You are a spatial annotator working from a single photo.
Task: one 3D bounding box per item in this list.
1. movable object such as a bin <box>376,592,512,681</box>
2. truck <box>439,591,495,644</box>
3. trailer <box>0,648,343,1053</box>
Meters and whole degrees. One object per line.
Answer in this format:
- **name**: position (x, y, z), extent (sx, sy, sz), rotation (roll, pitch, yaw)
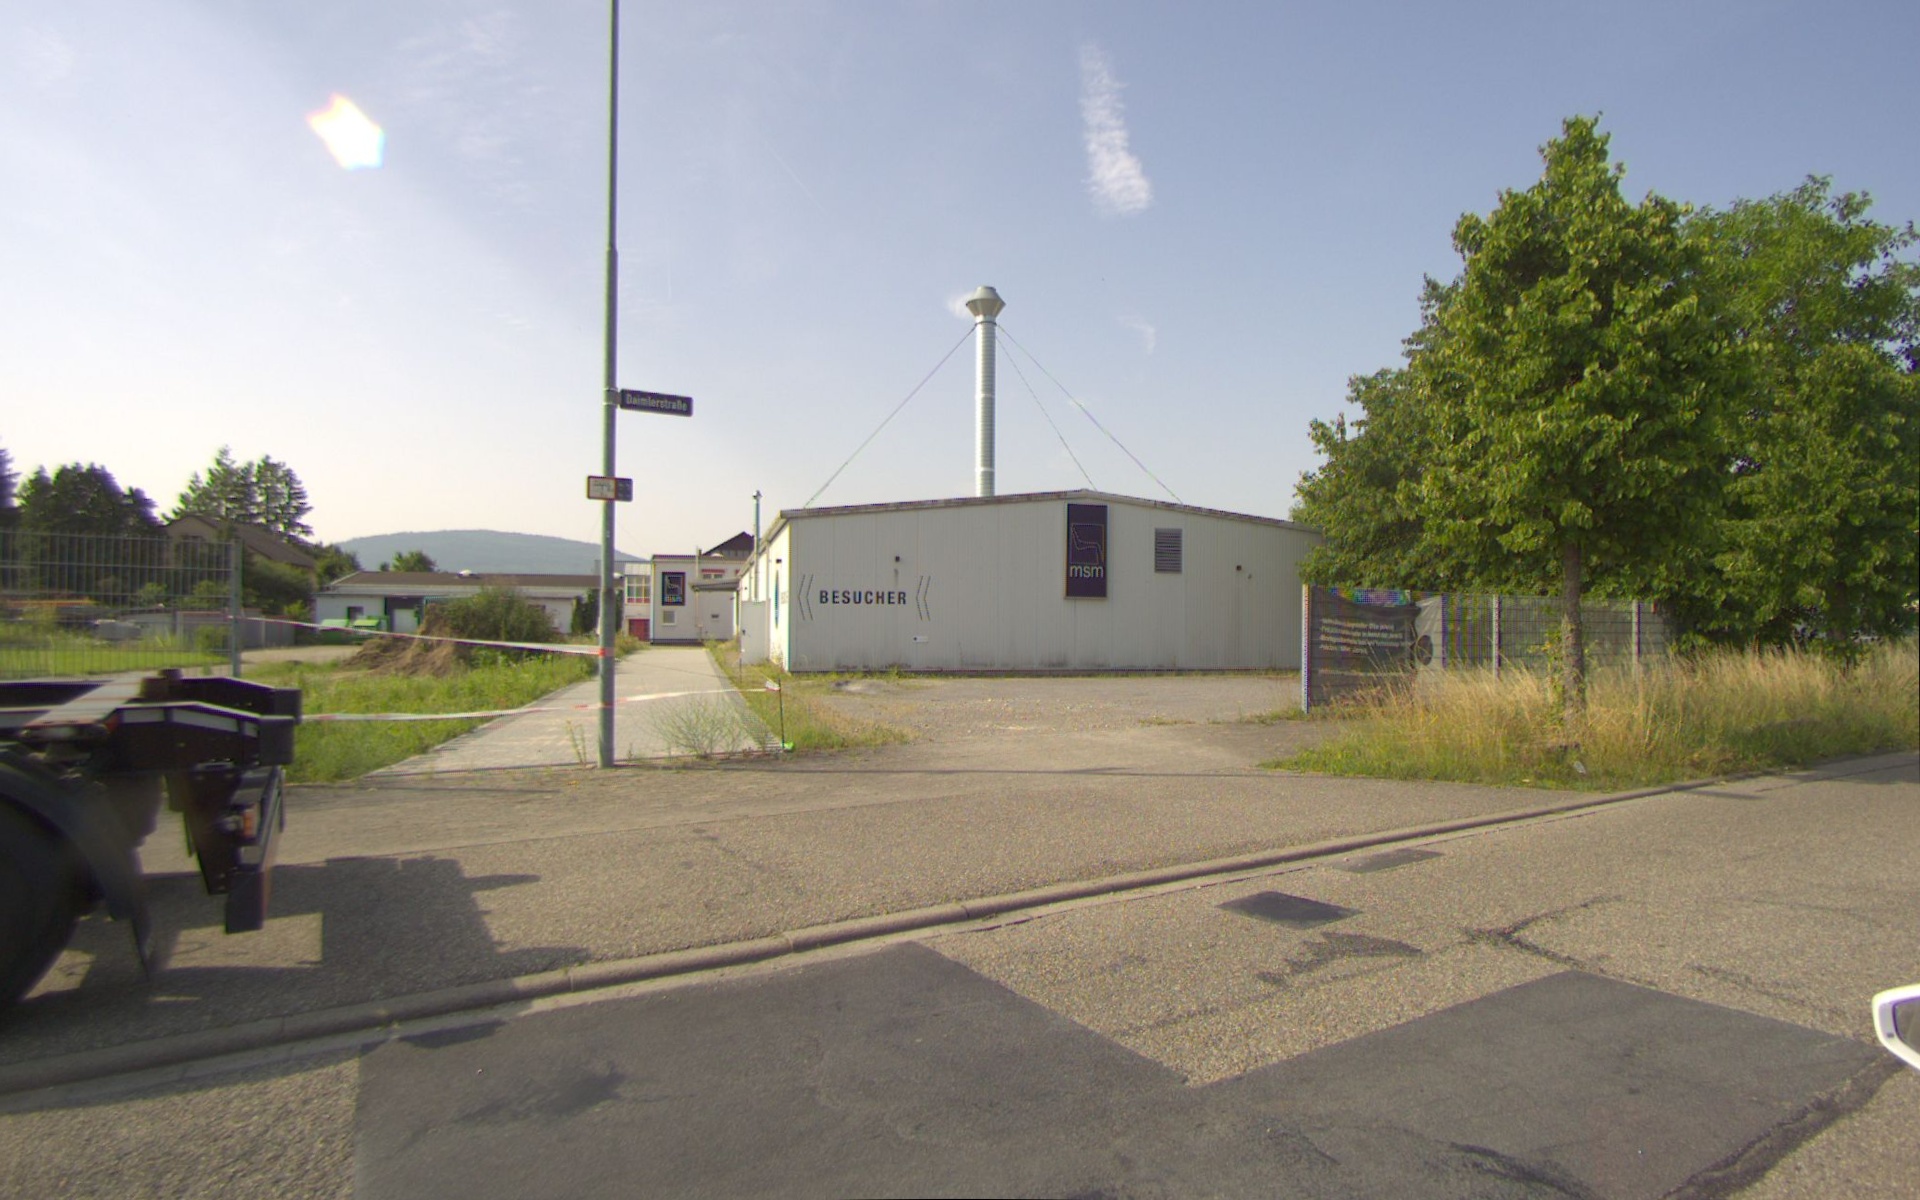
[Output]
- **movable object such as a bin**: position (-15.429, 1.085, 30.342), extent (2.210, 2.488, 4.302), rotation (0, -2, -6)
- **truck**: position (-38.498, 1.413, 78.665), extent (2.855, 3.938, 7.557), rotation (1, -2, -18)
- **trailer**: position (-6.943, 0.818, 2.429), extent (9.262, 1.200, 2.567), rotation (1, 0, -33)
